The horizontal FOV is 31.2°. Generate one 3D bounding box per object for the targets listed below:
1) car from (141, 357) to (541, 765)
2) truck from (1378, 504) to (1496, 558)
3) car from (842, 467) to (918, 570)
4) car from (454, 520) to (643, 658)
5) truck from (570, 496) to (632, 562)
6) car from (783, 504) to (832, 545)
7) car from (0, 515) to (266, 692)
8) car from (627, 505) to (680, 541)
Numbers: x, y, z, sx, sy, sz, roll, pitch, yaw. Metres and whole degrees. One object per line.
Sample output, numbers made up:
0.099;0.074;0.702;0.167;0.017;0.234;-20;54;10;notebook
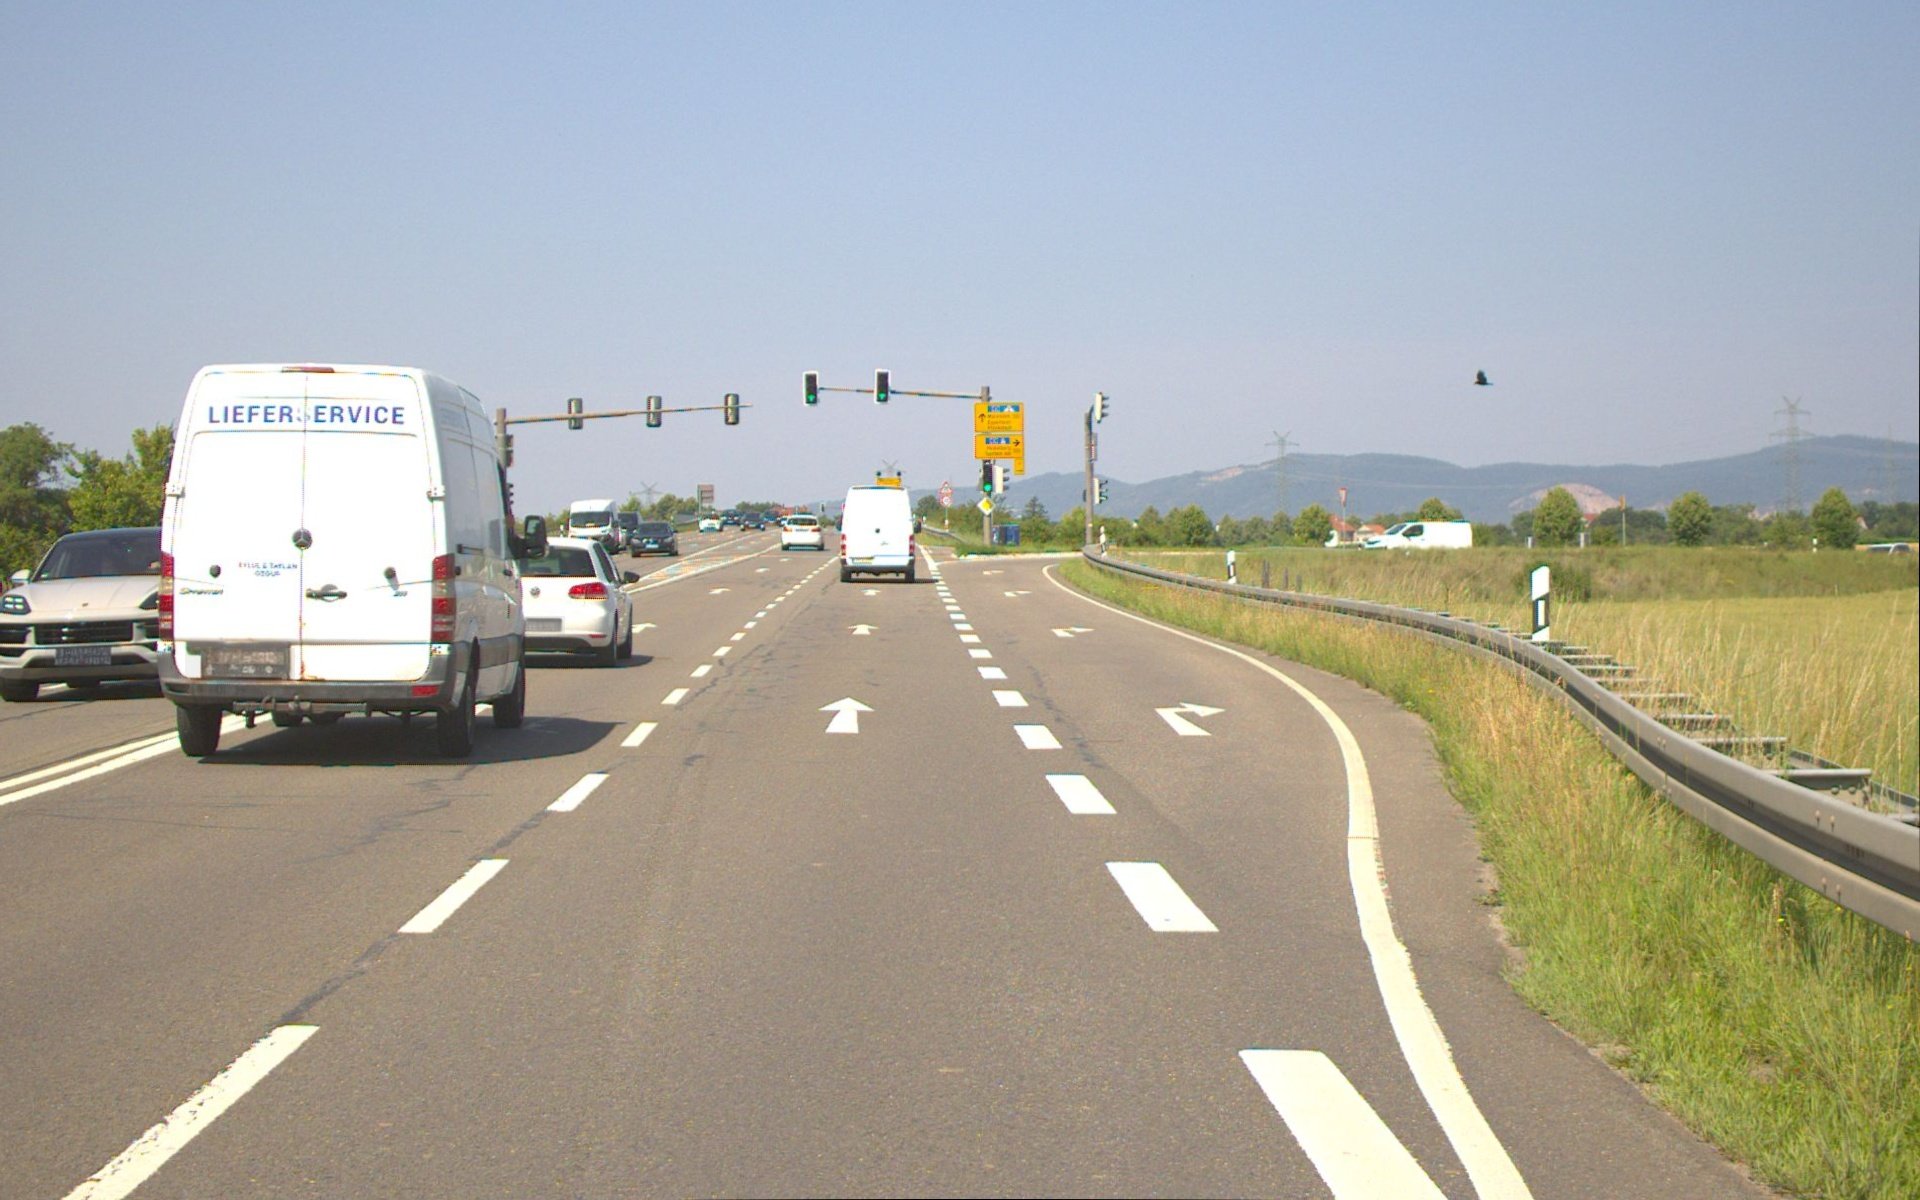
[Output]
-4.313;-0.319;24.889;2.039;2.611;5.742;0;1;-2;car
21.498;-3.088;155.012;4.842;2.312;2.001;1;0;-15;truck
-2.155;-2.183;92.502;1.993;2.686;4.970;0;1;-1;car
-4.740;-0.166;40.121;1.799;1.503;4.196;0;2;-1;car
-16.394;-3.226;157.260;2.297;2.947;5.283;0;0;0;truck
-6.693;-3.286;151.004;1.993;1.697;4.275;1;0;-1;car
-8.403;-0.007;34.694;1.840;1.581;4.876;-3;1;-1;car
-12.835;-3.227;144.260;1.857;1.418;4.000;0;0;0;car
